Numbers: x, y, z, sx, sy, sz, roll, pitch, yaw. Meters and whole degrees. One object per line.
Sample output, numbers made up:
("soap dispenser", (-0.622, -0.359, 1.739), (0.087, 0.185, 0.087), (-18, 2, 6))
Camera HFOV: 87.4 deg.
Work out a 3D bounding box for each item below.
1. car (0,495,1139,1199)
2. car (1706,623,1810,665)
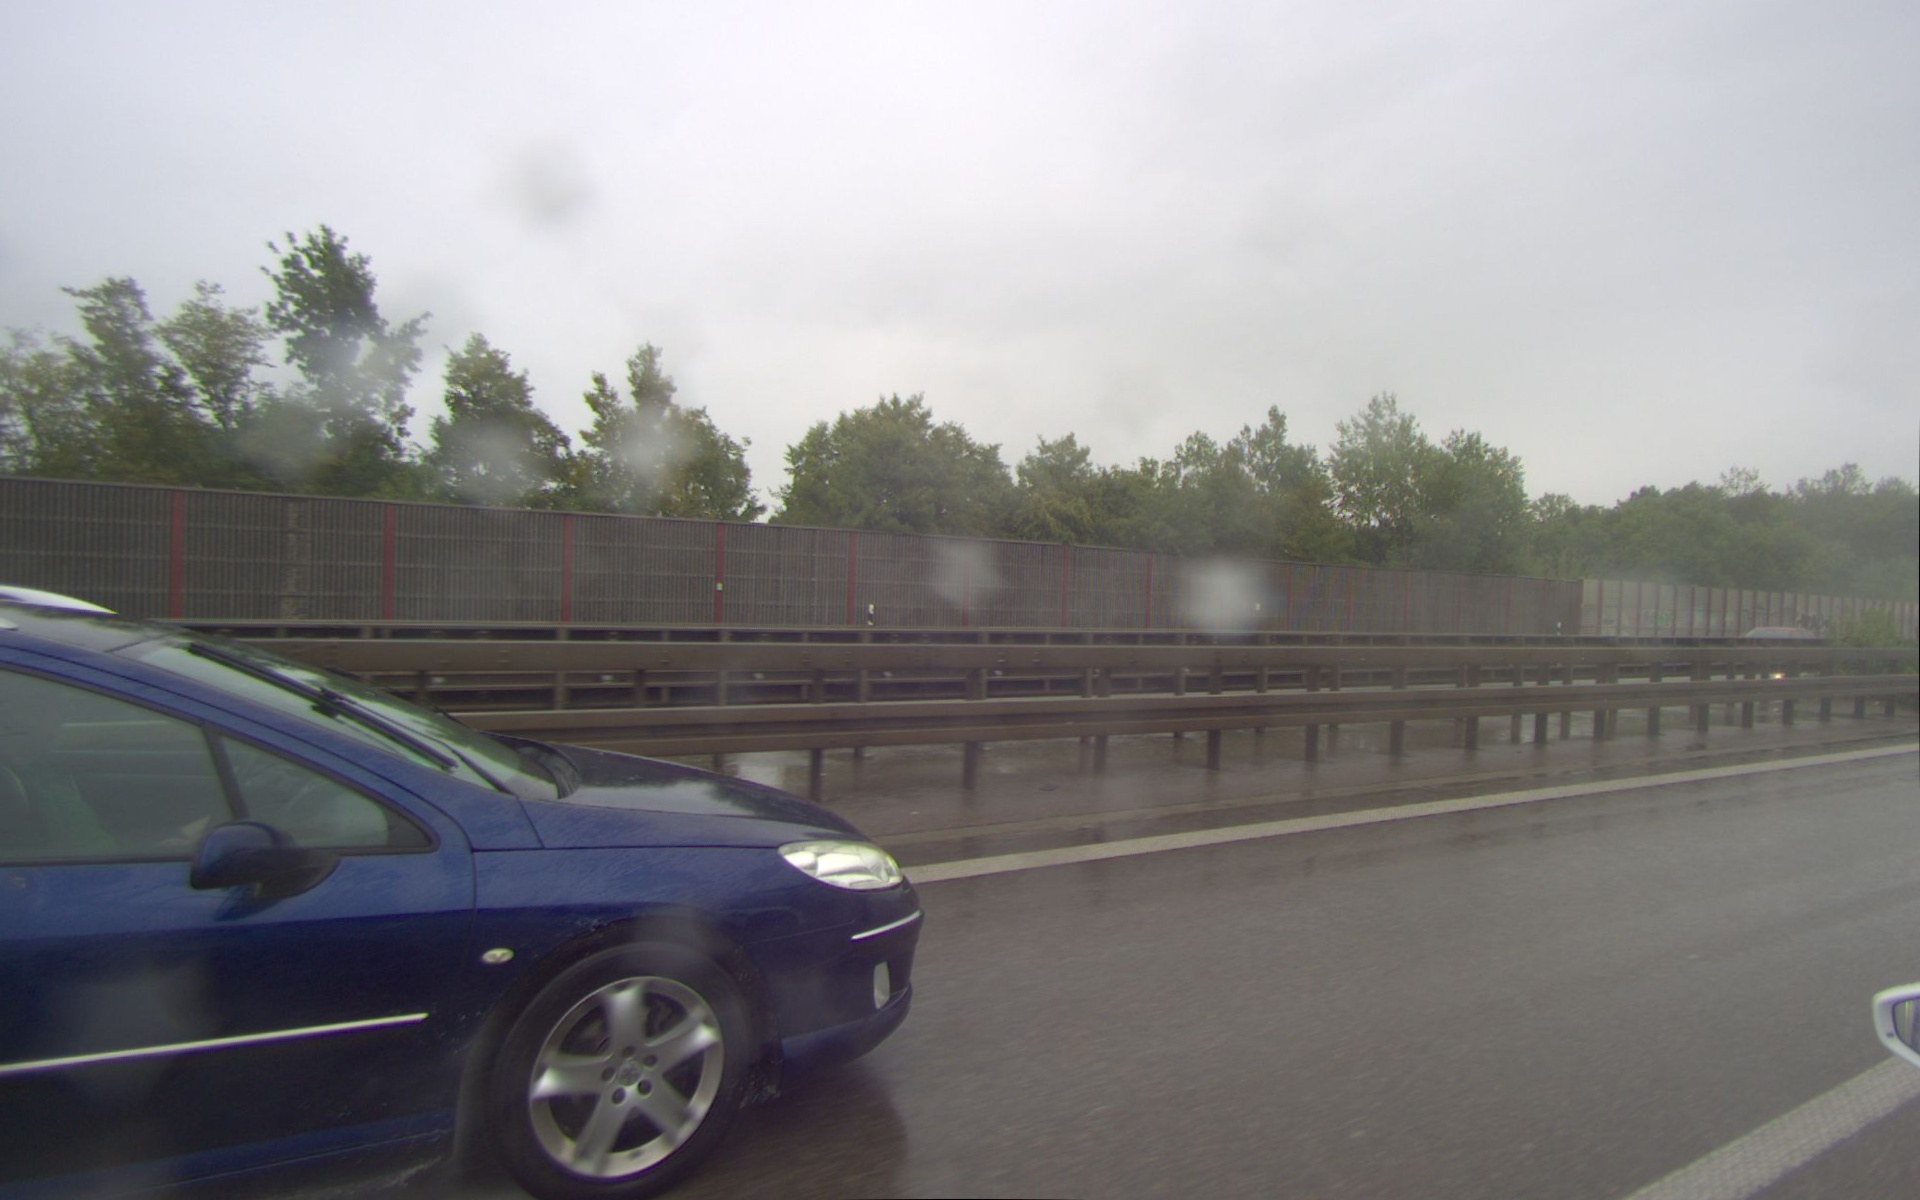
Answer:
("car", (-2.149, 0.560, 2.659), (5.099, 1.505, 2.043), (1, 0, -31))
("car", (28.900, 1.584, 36.382), (3.697, 1.401, 1.739), (2, 0, -31))
